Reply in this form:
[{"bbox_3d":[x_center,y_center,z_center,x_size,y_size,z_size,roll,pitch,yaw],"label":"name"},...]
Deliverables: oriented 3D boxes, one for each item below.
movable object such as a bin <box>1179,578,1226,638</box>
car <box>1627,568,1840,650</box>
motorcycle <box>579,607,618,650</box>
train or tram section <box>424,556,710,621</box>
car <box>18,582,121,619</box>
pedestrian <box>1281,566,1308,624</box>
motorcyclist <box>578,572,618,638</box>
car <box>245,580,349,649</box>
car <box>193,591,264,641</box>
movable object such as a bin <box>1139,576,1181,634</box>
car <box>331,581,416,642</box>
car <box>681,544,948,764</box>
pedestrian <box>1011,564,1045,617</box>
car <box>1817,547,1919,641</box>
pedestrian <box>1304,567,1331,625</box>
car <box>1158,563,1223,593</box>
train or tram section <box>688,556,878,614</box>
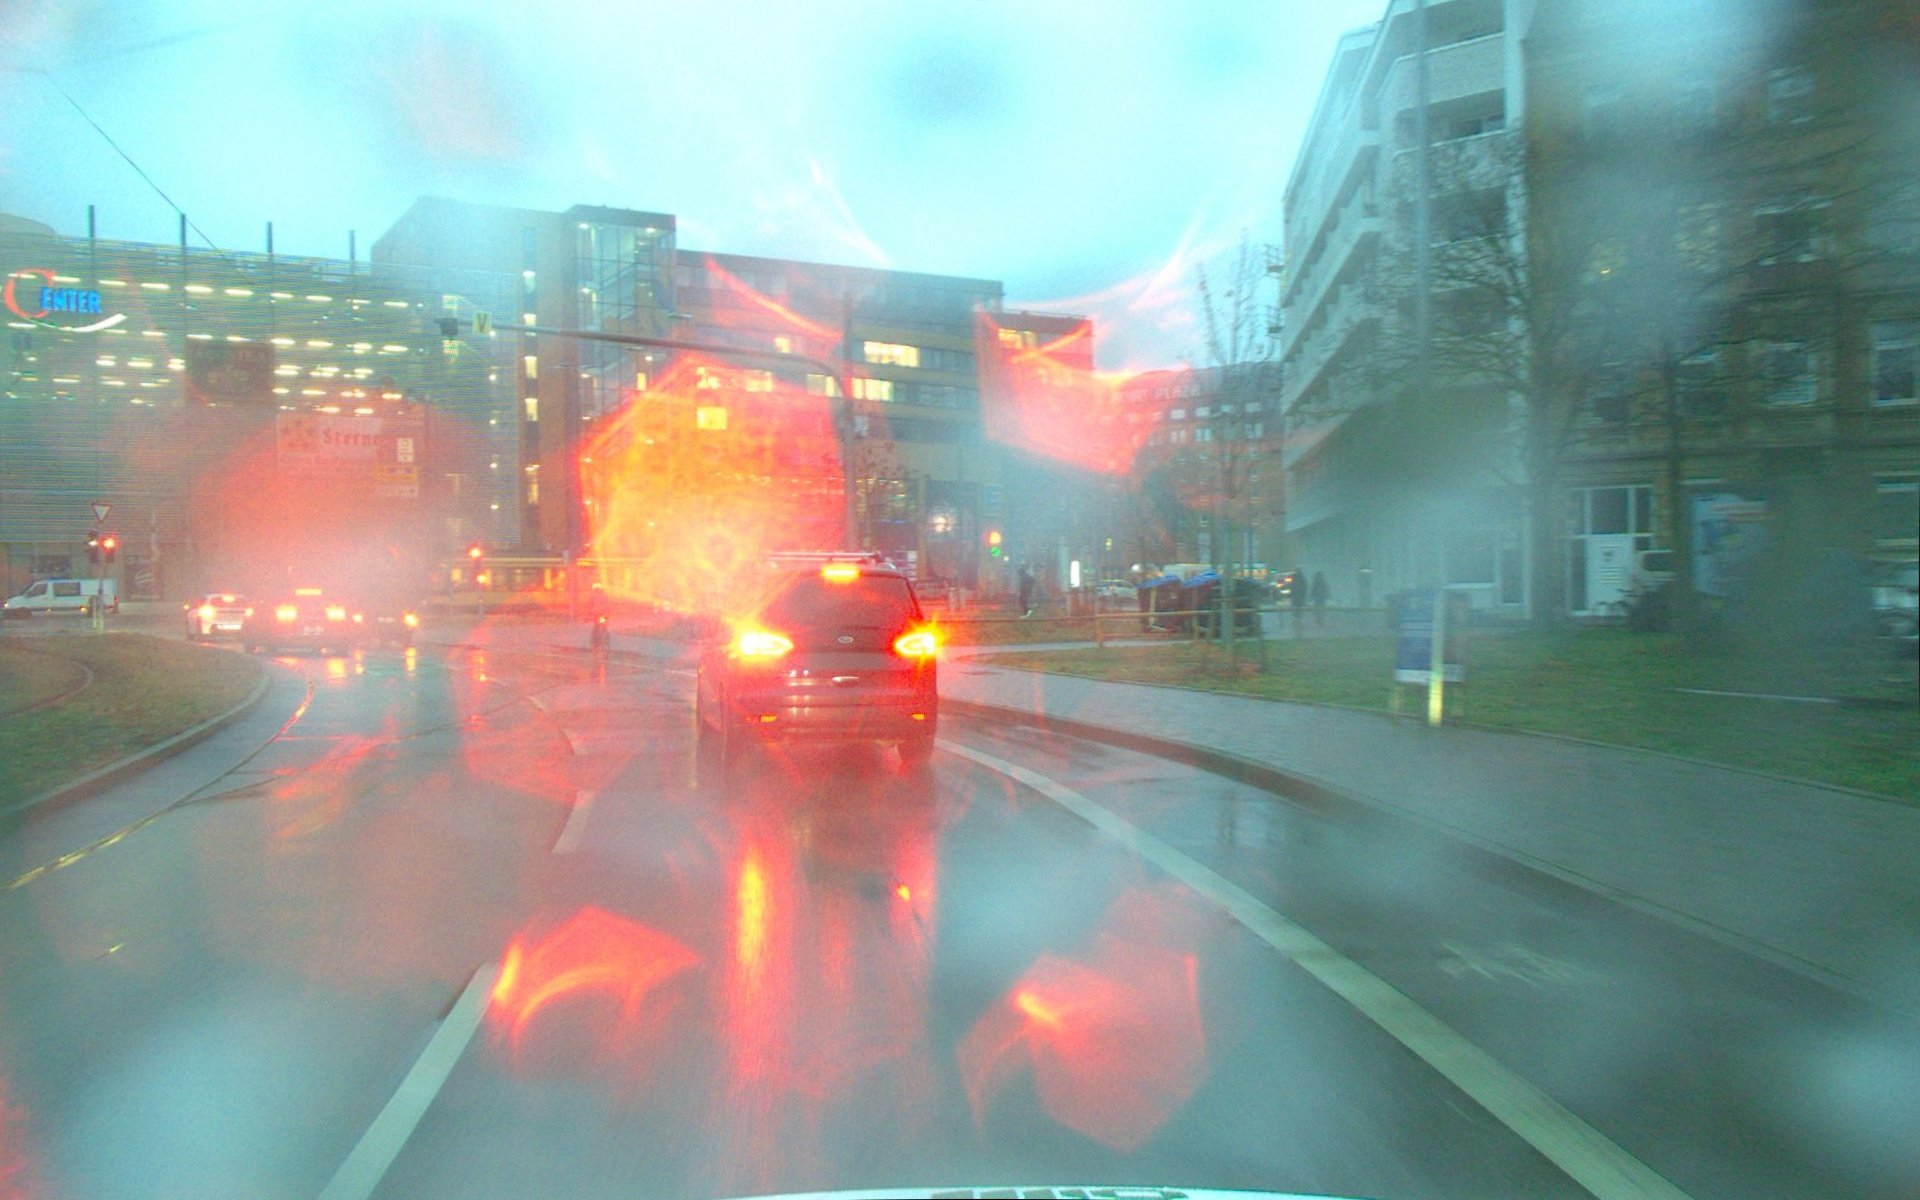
[{"bbox_3d":[6.219,0.203,42.308,1.012,1.516,1.041,1,-1,18],"label":"movable object such as a bin"},{"bbox_3d":[19.611,0.198,41.999,4.650,1.952,1.994,1,0,33],"label":"car"},{"bbox_3d":[-8.736,0.673,39.996,0.837,0.988,1.578,-1,0,-10],"label":"motorcycle"},{"bbox_3d":[-21.397,-0.739,91.826,16.530,3.317,2.299,-2,1,-44],"label":"train or tram section"},{"bbox_3d":[-50.995,0.011,94.740,5.034,1.996,1.868,1,0,-34],"label":"car"},{"bbox_3d":[10.183,-0.140,50.355,0.661,1.744,0.606,1,-1,1],"label":"pedestrian"},{"bbox_3d":[-8.746,0.121,40.021,0.852,1.561,1.105,-1,0,-10],"label":"motorcyclist"},{"bbox_3d":[-16.519,0.351,41.121,1.736,1.601,3.956,-1,0,-32],"label":"car"},{"bbox_3d":[-23.298,0.489,52.610,1.863,1.512,3.965,-1,0,-27],"label":"car"},{"bbox_3d":[5.147,0.114,42.477,0.992,1.440,1.225,-2,1,9],"label":"movable object such as a bin"},{"bbox_3d":[-17.471,0.338,49.193,1.621,1.727,3.629,0,0,-32],"label":"car"},{"bbox_3d":[-1.513,0.458,15.575,1.707,1.768,4.228,1,-1,-16],"label":"car"},{"bbox_3d":[2.540,-0.349,61.743,1.147,1.958,0.897,1,-1,-5],"label":"pedestrian"},{"bbox_3d":[15.267,-0.130,25.720,3.806,1.360,1.681,-2,1,-30],"label":"car"},{"bbox_3d":[10.876,-0.110,50.332,0.661,1.744,0.629,1,-1,1],"label":"pedestrian"},{"bbox_3d":[16.619,-1.557,118.910,4.907,2.049,1.969,1,-1,-43],"label":"car"},{"bbox_3d":[-10.681,-0.970,101.758,12.899,3.317,2.299,-2,1,-44],"label":"train or tram section"}]
